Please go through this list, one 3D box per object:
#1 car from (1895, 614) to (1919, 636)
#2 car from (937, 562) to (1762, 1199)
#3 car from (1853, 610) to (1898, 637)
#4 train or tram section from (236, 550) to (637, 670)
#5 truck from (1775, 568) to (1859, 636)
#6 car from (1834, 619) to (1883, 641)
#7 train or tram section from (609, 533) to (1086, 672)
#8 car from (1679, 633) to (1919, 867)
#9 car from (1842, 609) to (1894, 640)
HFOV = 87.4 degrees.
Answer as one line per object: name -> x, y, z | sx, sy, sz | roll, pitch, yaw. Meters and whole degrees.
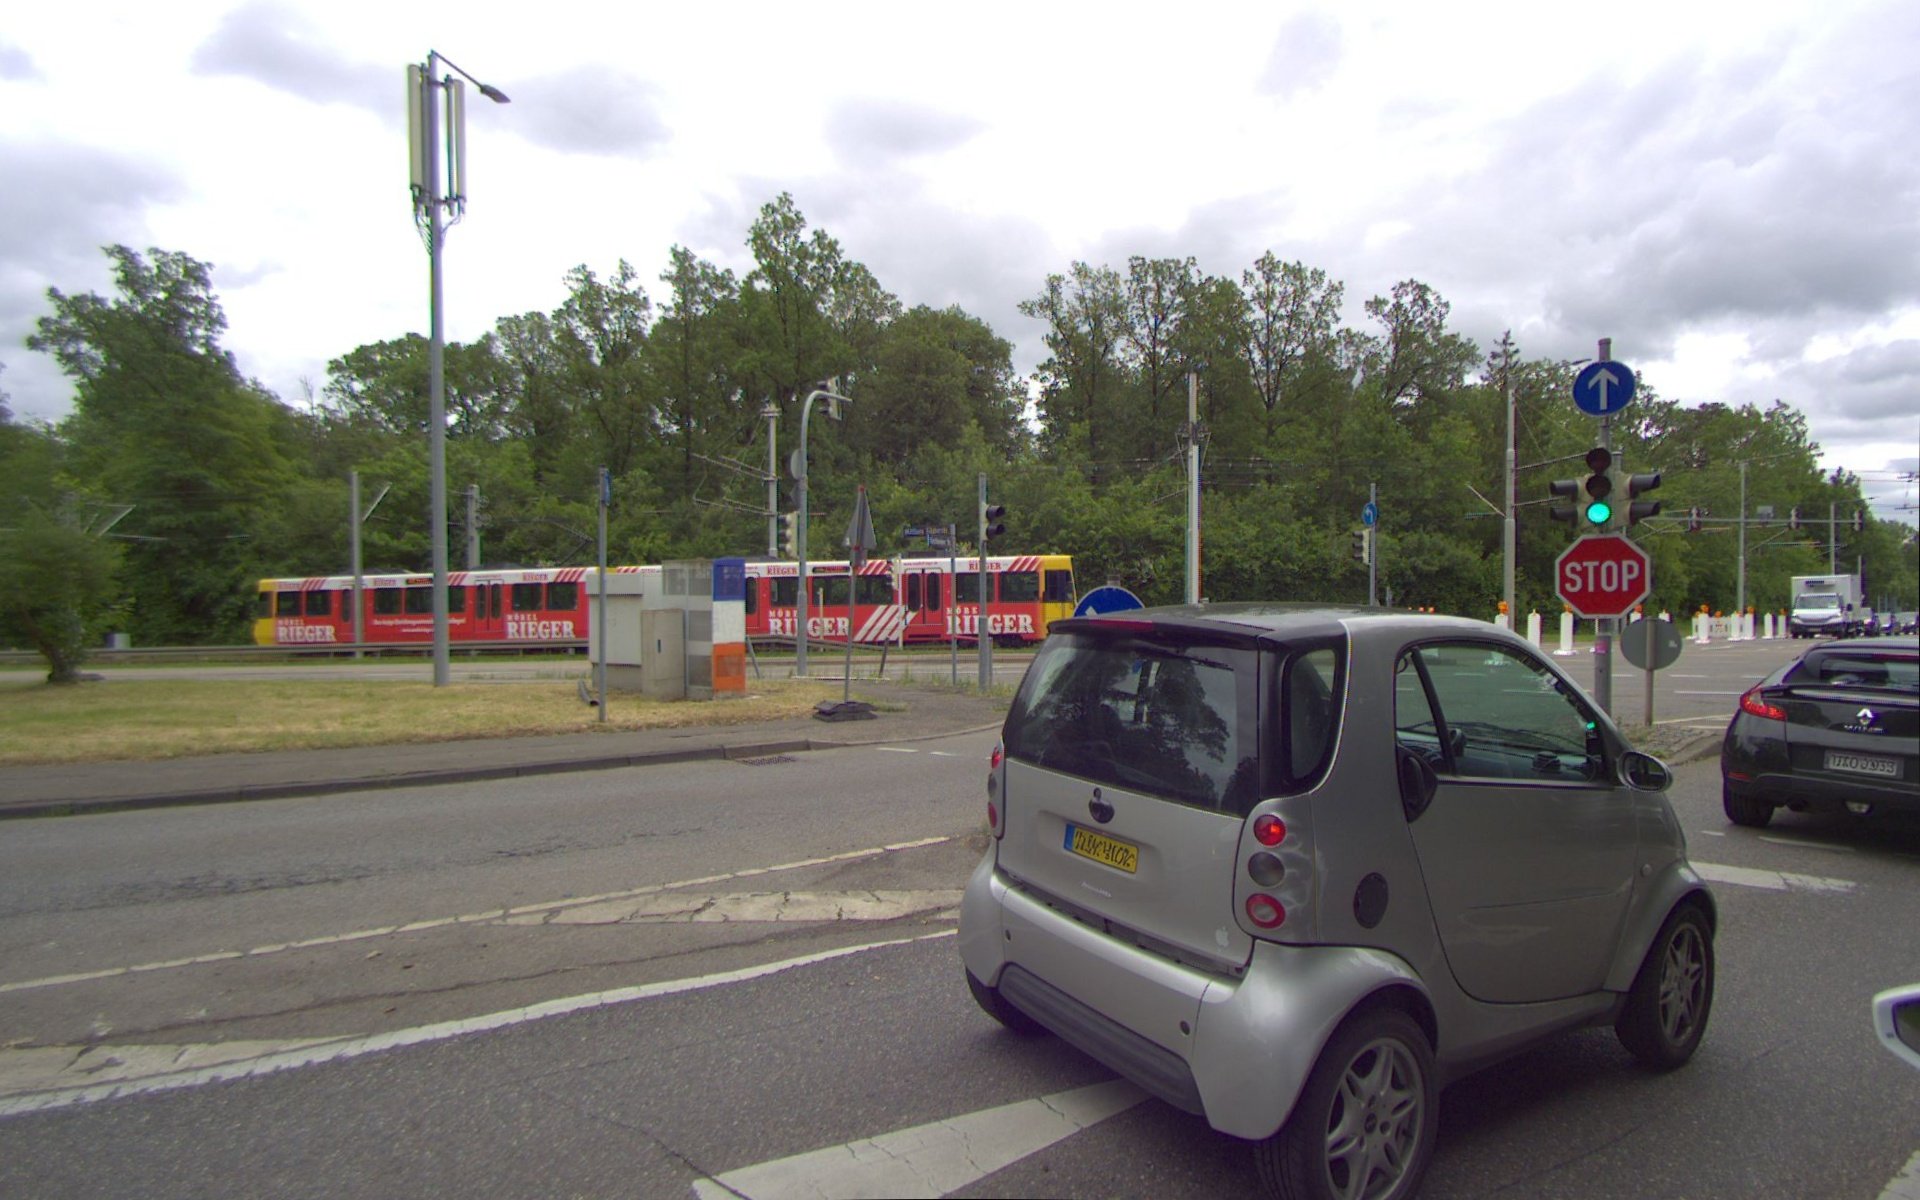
car -> 72.500, 1.875, 76.204 | 4.277, 1.628, 1.944 | 1, -1, -42
car -> 1.434, 0.749, 3.594 | 2.698, 1.607, 1.449 | 1, -1, -32
car -> 65.986, 1.658, 72.351 | 4.654, 1.869, 1.944 | 1, -1, -42
train or tram section -> -22.684, 0.280, 43.047 | 18.355, 4.477, 2.967 | 1, -1, 17
truck -> 44.184, 0.189, 51.720 | 7.103, 3.267, 2.426 | 1, -2, -43
car -> 60.238, 2.002, 67.293 | 4.654, 1.379, 1.944 | 1, -1, -42
train or tram section -> -4.342, 0.031, 39.074 | 18.168, 4.712, 2.958 | 2, -1, 9
car -> 6.957, 0.948, 7.387 | 3.444, 1.379, 1.761 | 1, -1, -37
car -> 55.310, 1.468, 61.136 | 4.810, 1.773, 1.944 | 1, -1, -43
